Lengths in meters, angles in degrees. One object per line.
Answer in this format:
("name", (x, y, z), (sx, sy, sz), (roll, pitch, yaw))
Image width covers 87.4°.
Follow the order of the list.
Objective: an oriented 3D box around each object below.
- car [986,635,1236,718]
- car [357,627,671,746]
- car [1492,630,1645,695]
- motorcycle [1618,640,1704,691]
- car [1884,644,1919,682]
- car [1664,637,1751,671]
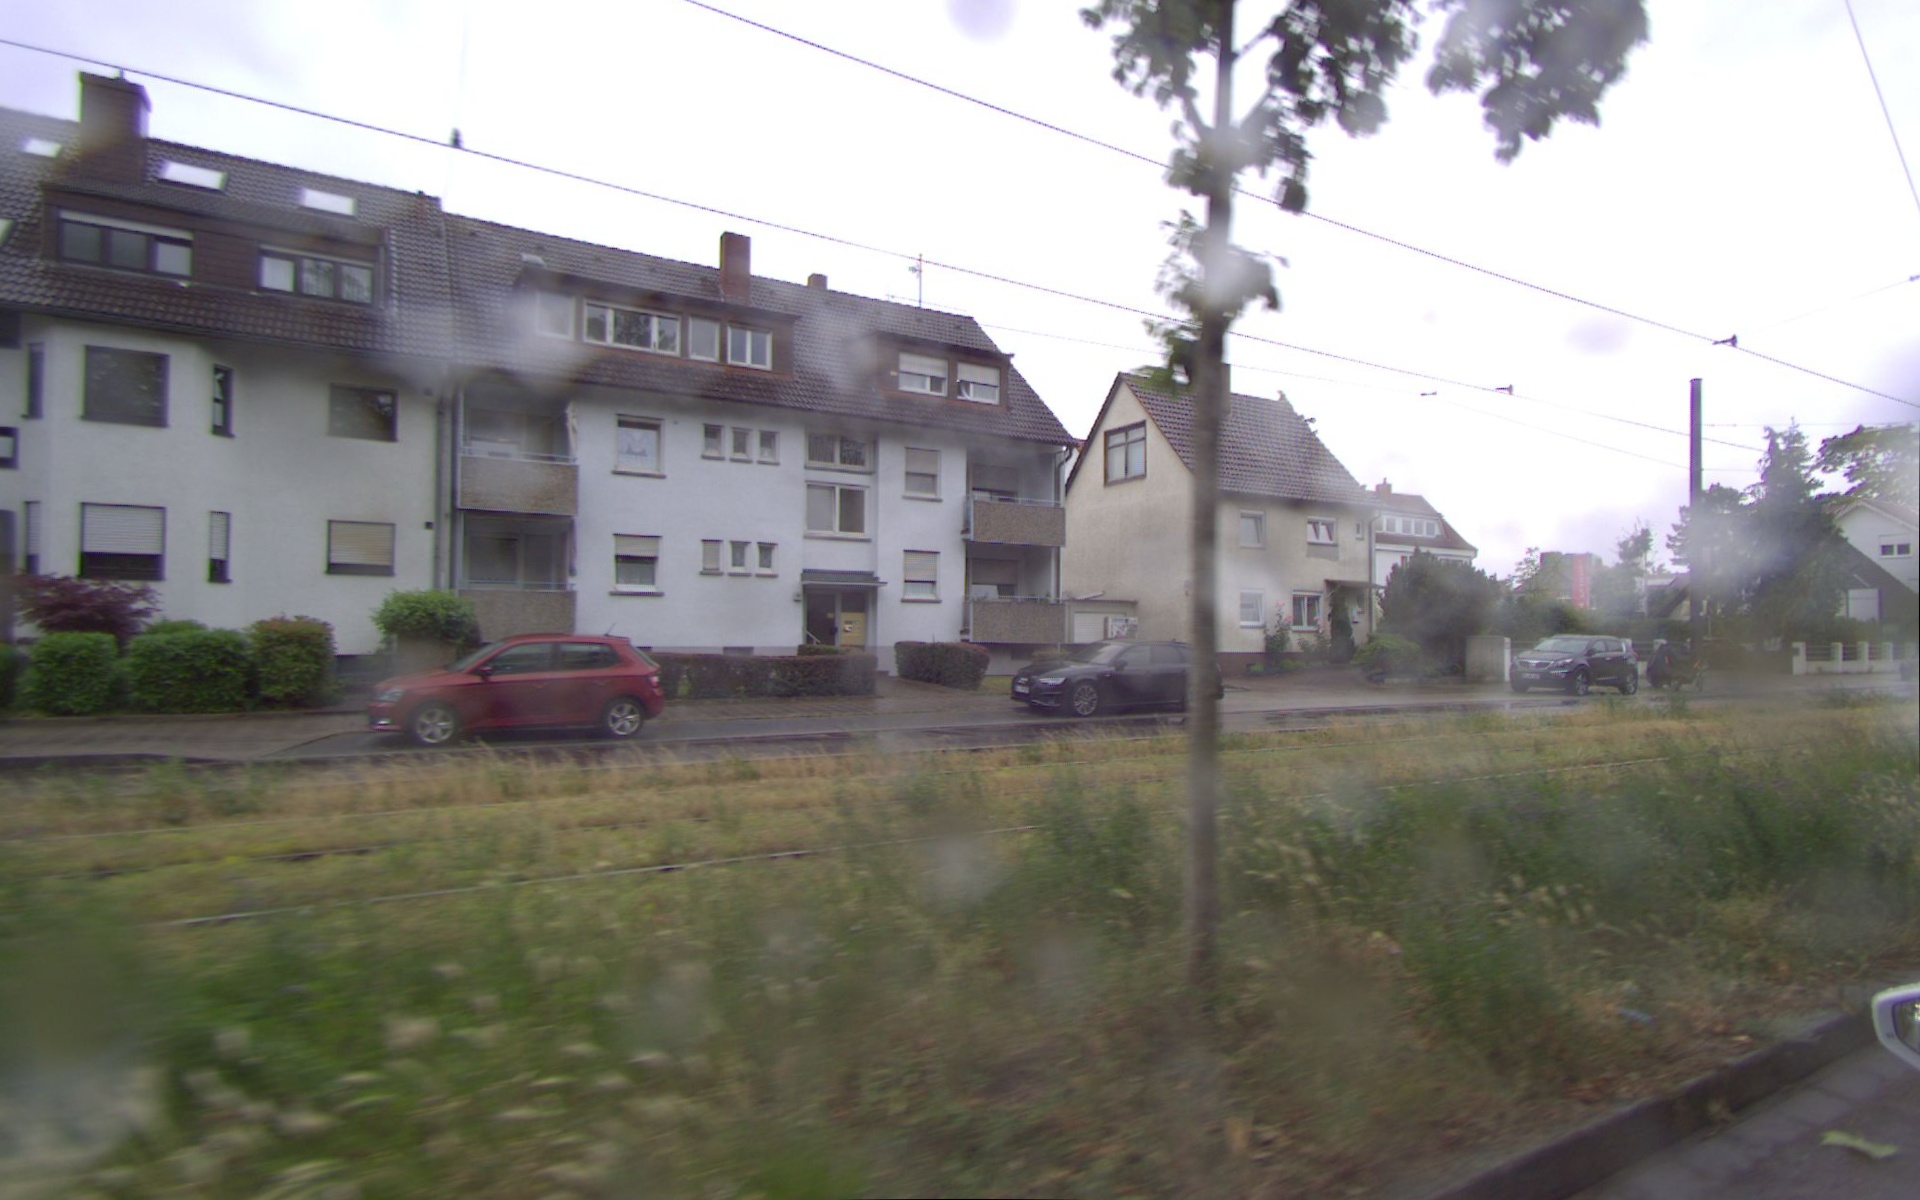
("car", (3.042, 1.459, 20.124), (4.701, 1.430, 1.986), (1, 0, -28))
("car", (-6.417, 1.172, 14.663), (3.949, 1.476, 1.791), (1, 0, -28))
("car", (17.356, 1.754, 28.605), (4.338, 1.696, 1.983), (2, -2, -31))
("motorcycle", (21.709, 1.987, 31.179), (1.241, 1.429, 2.690), (2, -1, 13))
("car", (40.330, 2.588, 41.351), (4.474, 1.475, 1.986), (1, 0, -28))
("car", (36.179, 2.580, 48.630), (3.871, 1.475, 1.984), (1, 0, -29))
